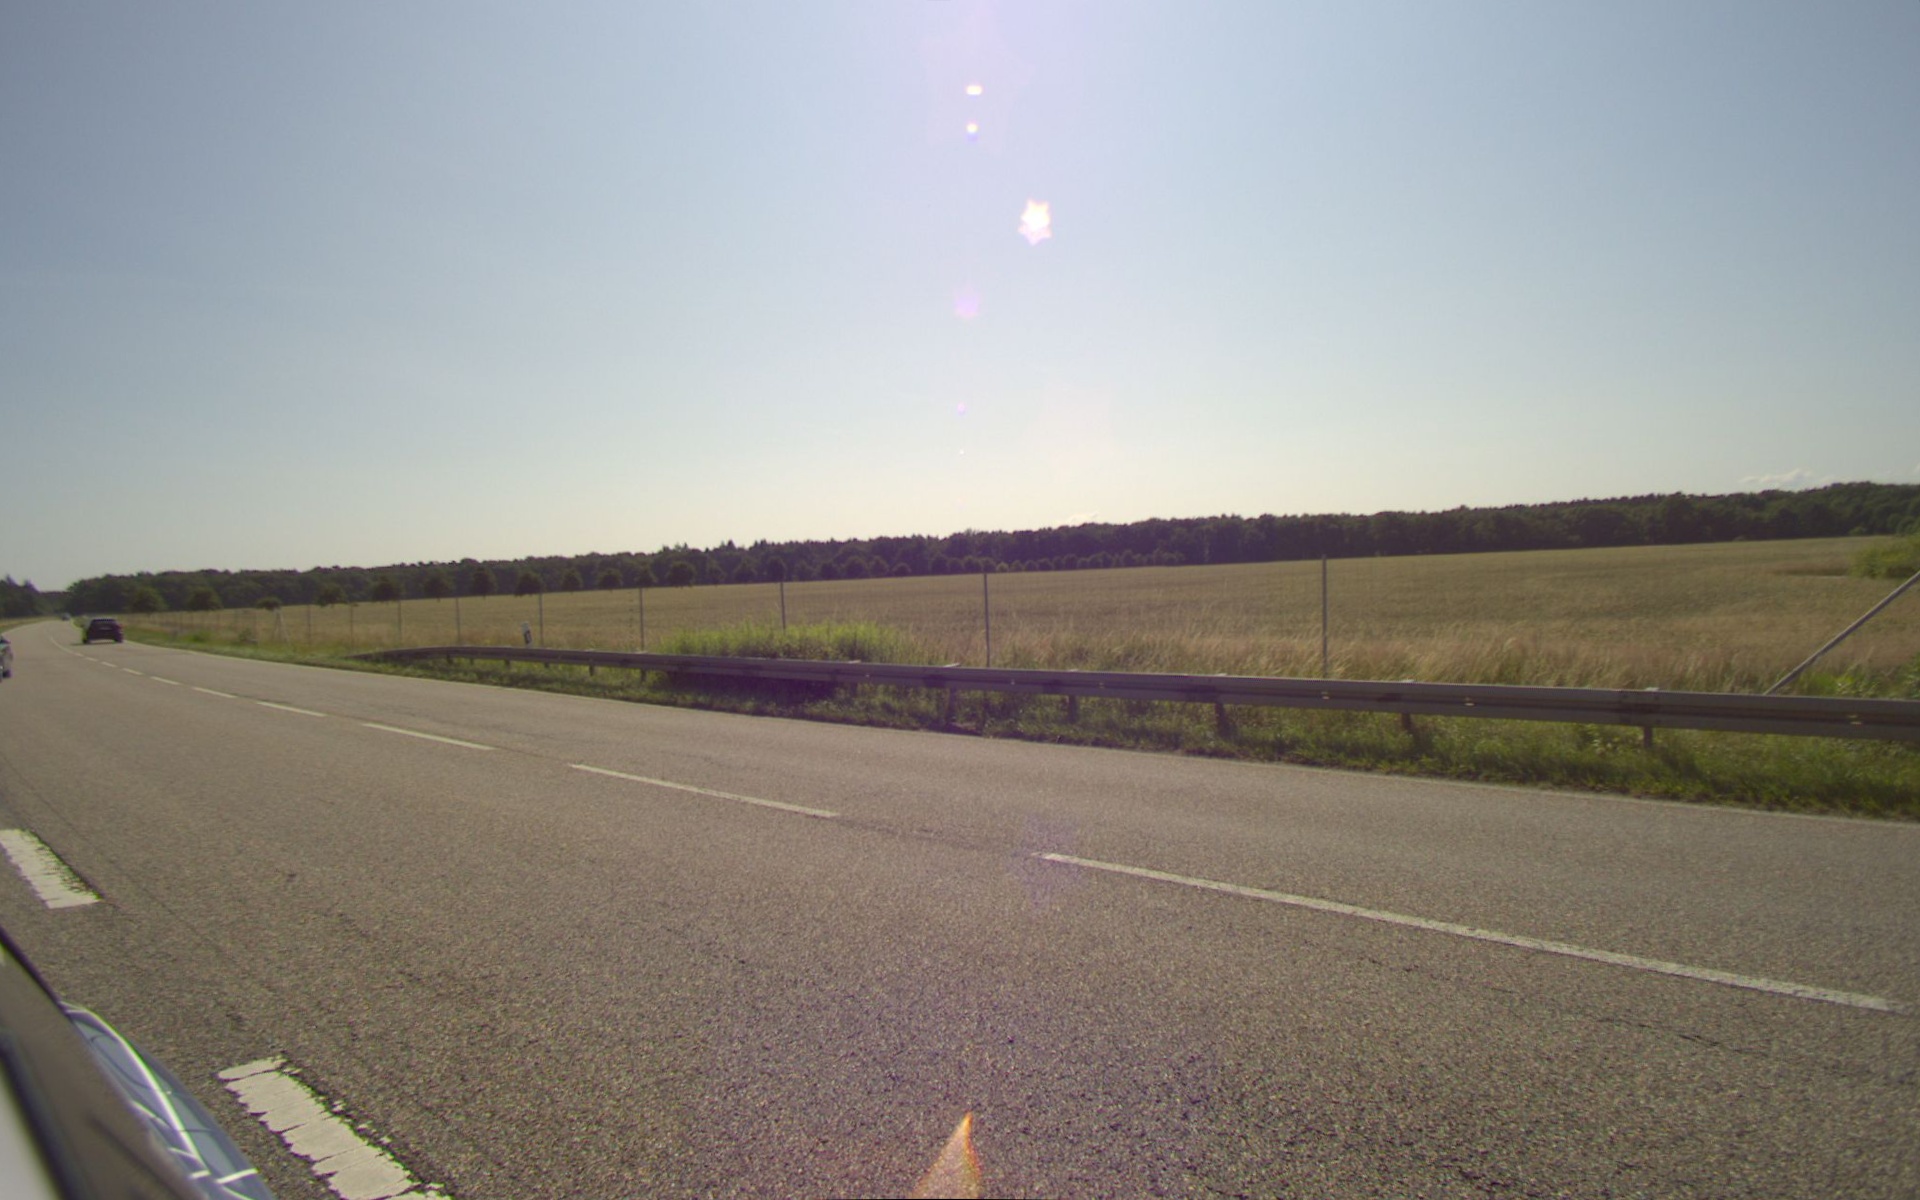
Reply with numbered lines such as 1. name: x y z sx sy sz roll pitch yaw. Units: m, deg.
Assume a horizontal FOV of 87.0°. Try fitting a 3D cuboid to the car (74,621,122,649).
1. car: -51.366 2.068 60.258 4.164 1.519 1.808 -2 -1 44
